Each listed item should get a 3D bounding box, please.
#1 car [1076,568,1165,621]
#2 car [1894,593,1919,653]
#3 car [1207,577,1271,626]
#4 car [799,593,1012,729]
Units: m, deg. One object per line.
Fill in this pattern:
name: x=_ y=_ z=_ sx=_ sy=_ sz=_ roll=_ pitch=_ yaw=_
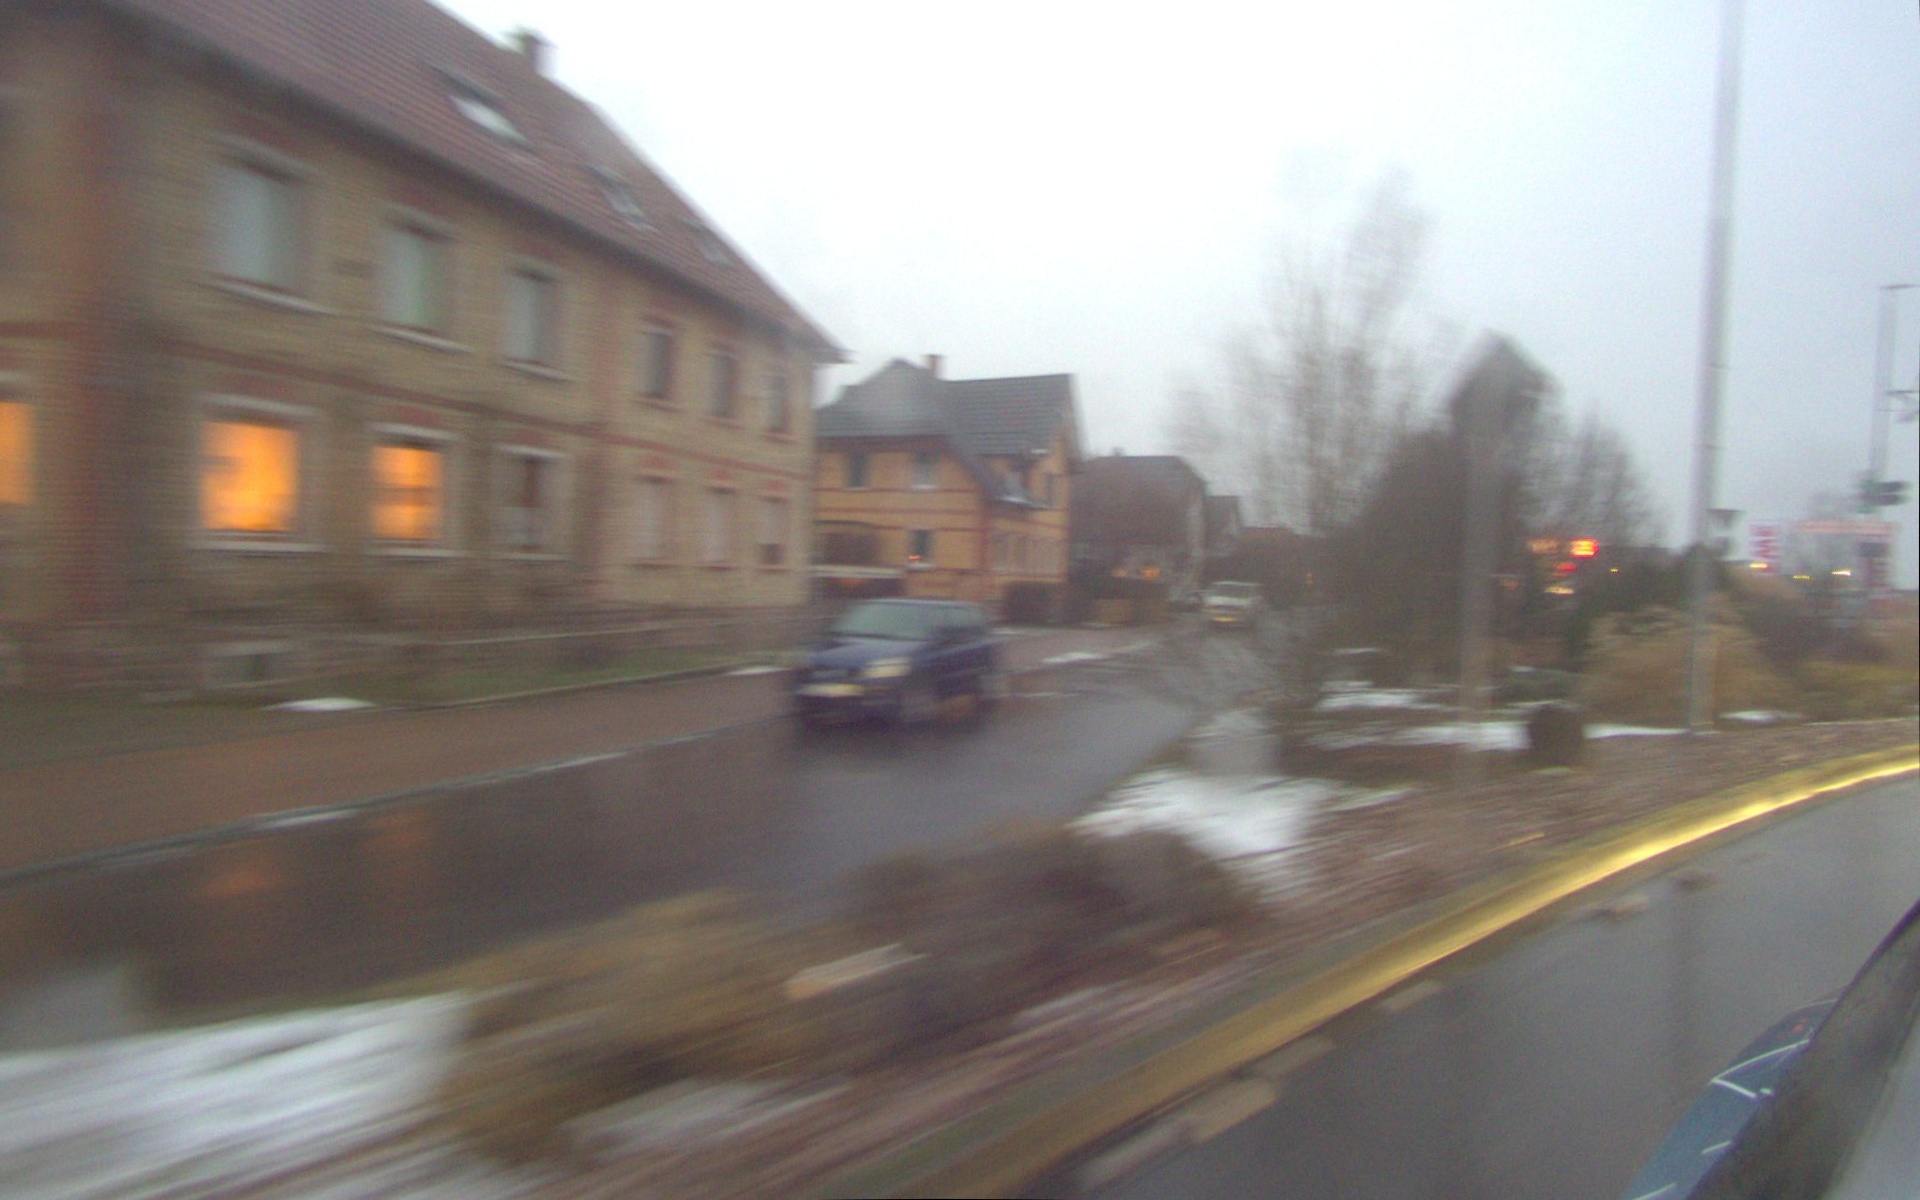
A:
car: x=6.612 y=-0.304 z=41.203 sx=2.341 sy=1.888 sz=5.293 roll=4 pitch=3 yaw=22
car: x=25.011 y=0.599 z=24.171 sx=1.628 sy=1.511 sz=3.717 roll=1 pitch=0 yaw=-10
car: x=11.960 y=0.040 z=43.196 sx=1.917 sy=1.943 sz=5.205 roll=1 pitch=0 yaw=24
car: x=-0.530 y=0.636 z=12.567 sx=1.271 sy=1.401 sz=3.554 roll=2 pitch=1 yaw=21
